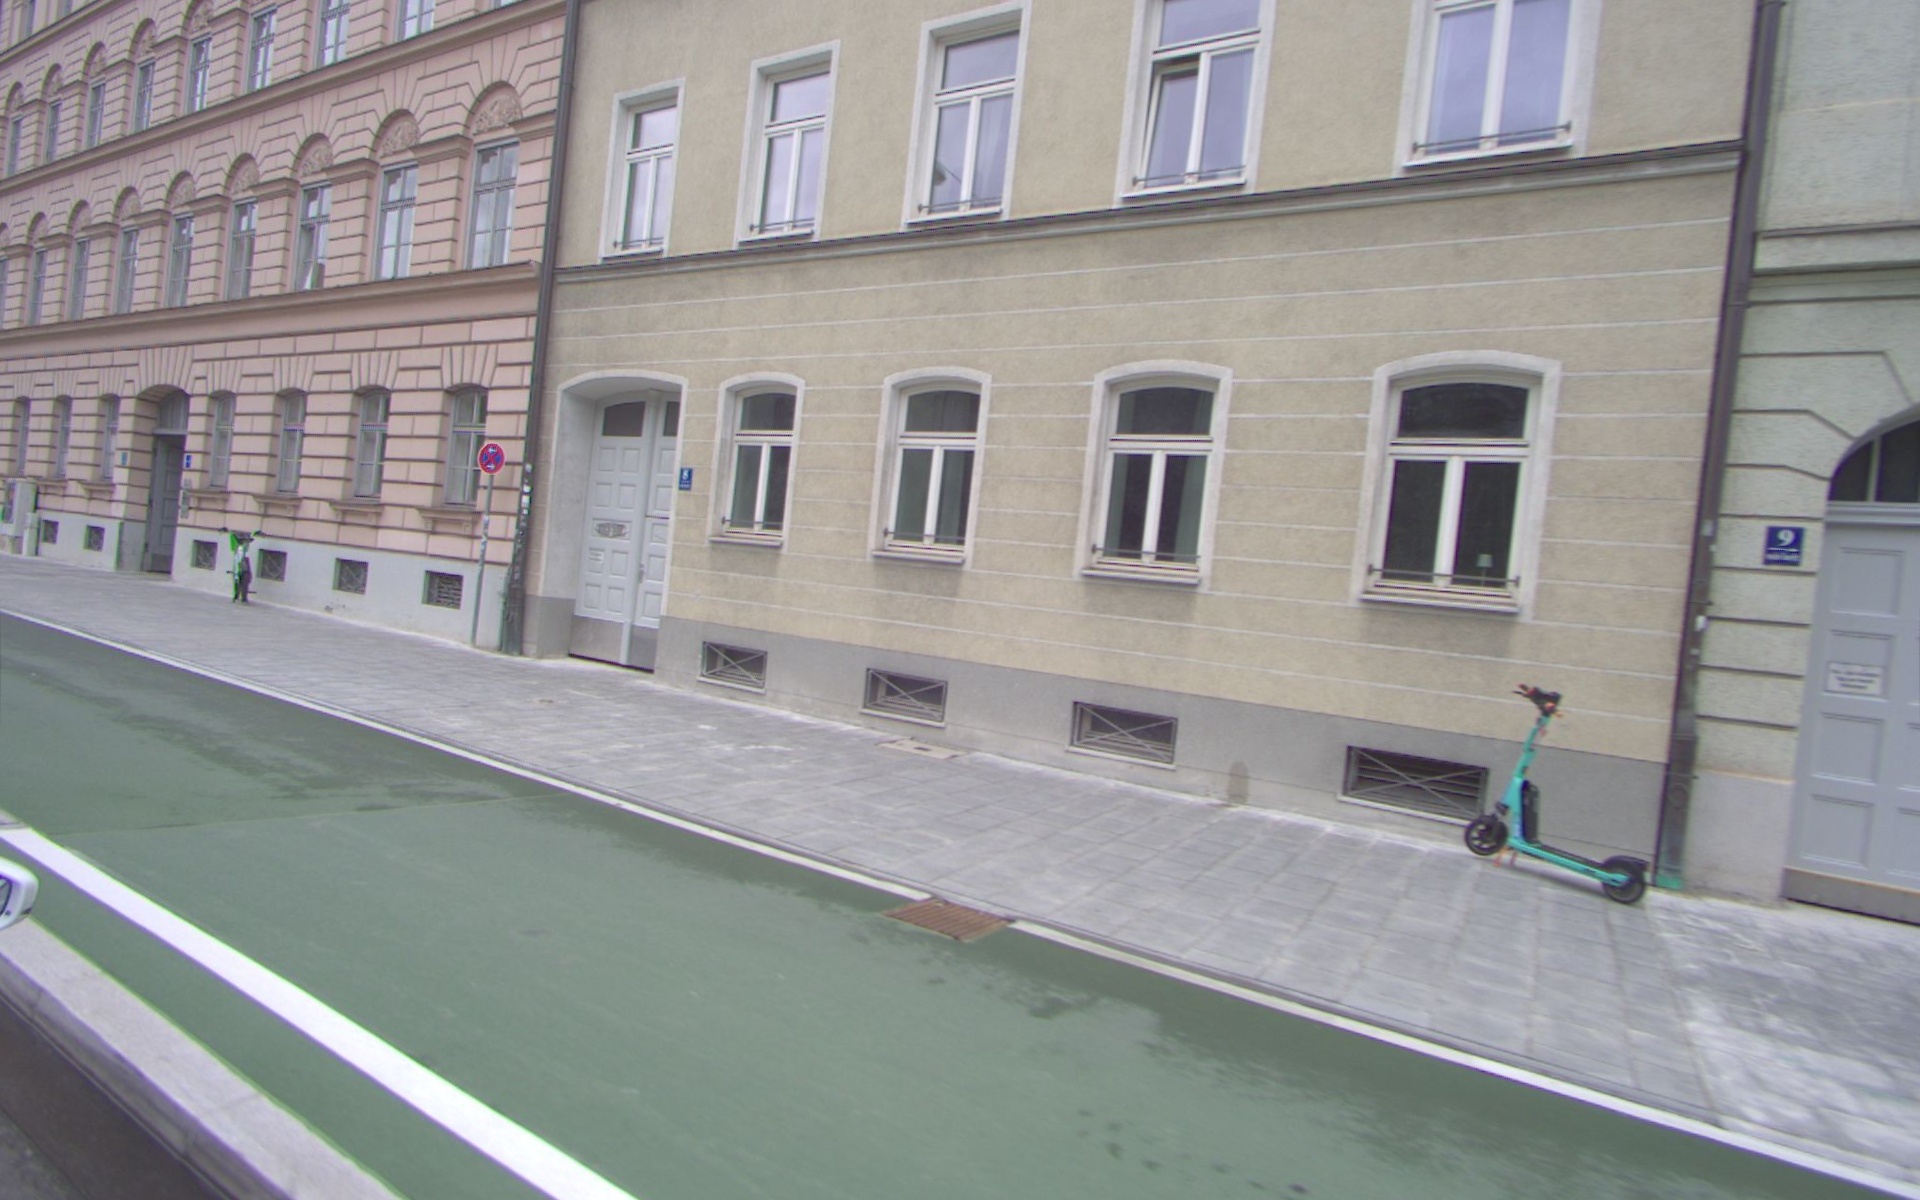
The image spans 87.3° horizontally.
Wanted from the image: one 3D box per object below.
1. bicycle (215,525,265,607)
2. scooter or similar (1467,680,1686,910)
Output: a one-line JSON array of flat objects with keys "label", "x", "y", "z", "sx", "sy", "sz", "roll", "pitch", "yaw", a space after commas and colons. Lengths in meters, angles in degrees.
[{"label": "bicycle", "x": -11.561, "y": -0.561, "z": 16.138, "sx": 0.424, "sy": 1.189, "sz": 1.711, "roll": 4, "pitch": 2, "yaw": -41}, {"label": "scooter or similar", "x": 3.979, "y": 1.218, "z": 6.567, "sx": 0.244, "sy": 1.247, "sz": 1.109, "roll": 3, "pitch": 3, "yaw": -33}]
